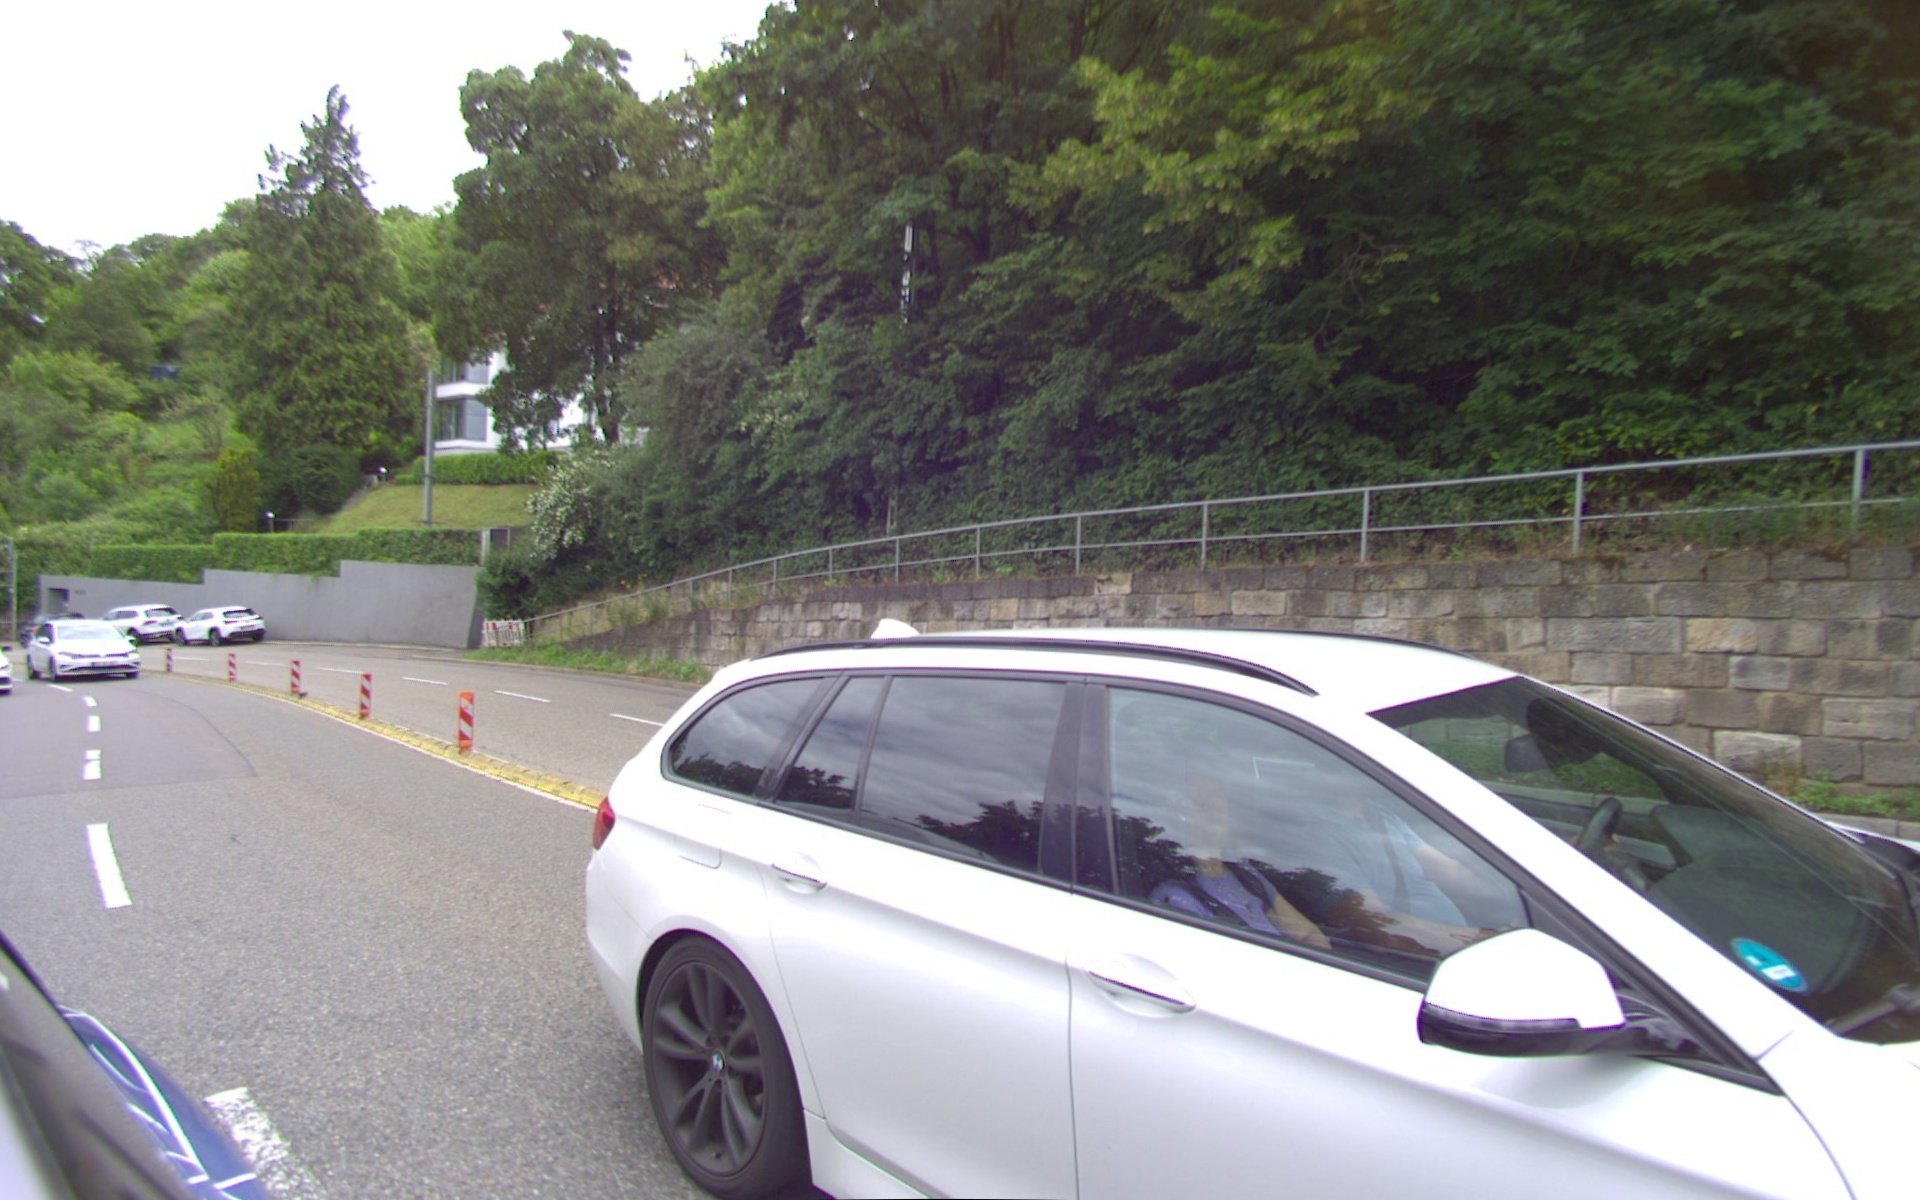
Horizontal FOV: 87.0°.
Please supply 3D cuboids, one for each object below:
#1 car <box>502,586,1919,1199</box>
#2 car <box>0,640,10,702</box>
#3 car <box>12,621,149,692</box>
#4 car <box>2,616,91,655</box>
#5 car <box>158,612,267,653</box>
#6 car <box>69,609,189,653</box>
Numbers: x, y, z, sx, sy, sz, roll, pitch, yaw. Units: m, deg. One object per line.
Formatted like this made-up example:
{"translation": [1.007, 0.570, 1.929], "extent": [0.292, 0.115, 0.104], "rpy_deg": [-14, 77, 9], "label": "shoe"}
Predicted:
{"translation": [1.057, 0.741, 2.219], "extent": [4.875, 1.477, 1.829], "rpy_deg": [0, 2, 41], "label": "car"}
{"translation": [-22.633, 1.584, 22.511], "extent": [4.098, 1.316, 1.775], "rpy_deg": [-2, -1, 41], "label": "car"}
{"translation": [-23.397, 1.429, 26.890], "extent": [3.992, 1.590, 1.864], "rpy_deg": [0, 2, 36], "label": "car"}
{"translation": [-41.814, 1.620, 46.349], "extent": [2.932, 1.584, 1.707], "rpy_deg": [-2, 3, 17], "label": "car"}
{"translation": [-31.524, 1.342, 42.689], "extent": [4.451, 1.584, 1.823], "rpy_deg": [0, 2, 26], "label": "car"}
{"translation": [-36.843, 1.360, 44.865], "extent": [4.723, 1.744, 1.854], "rpy_deg": [-1, 2, 19], "label": "car"}
